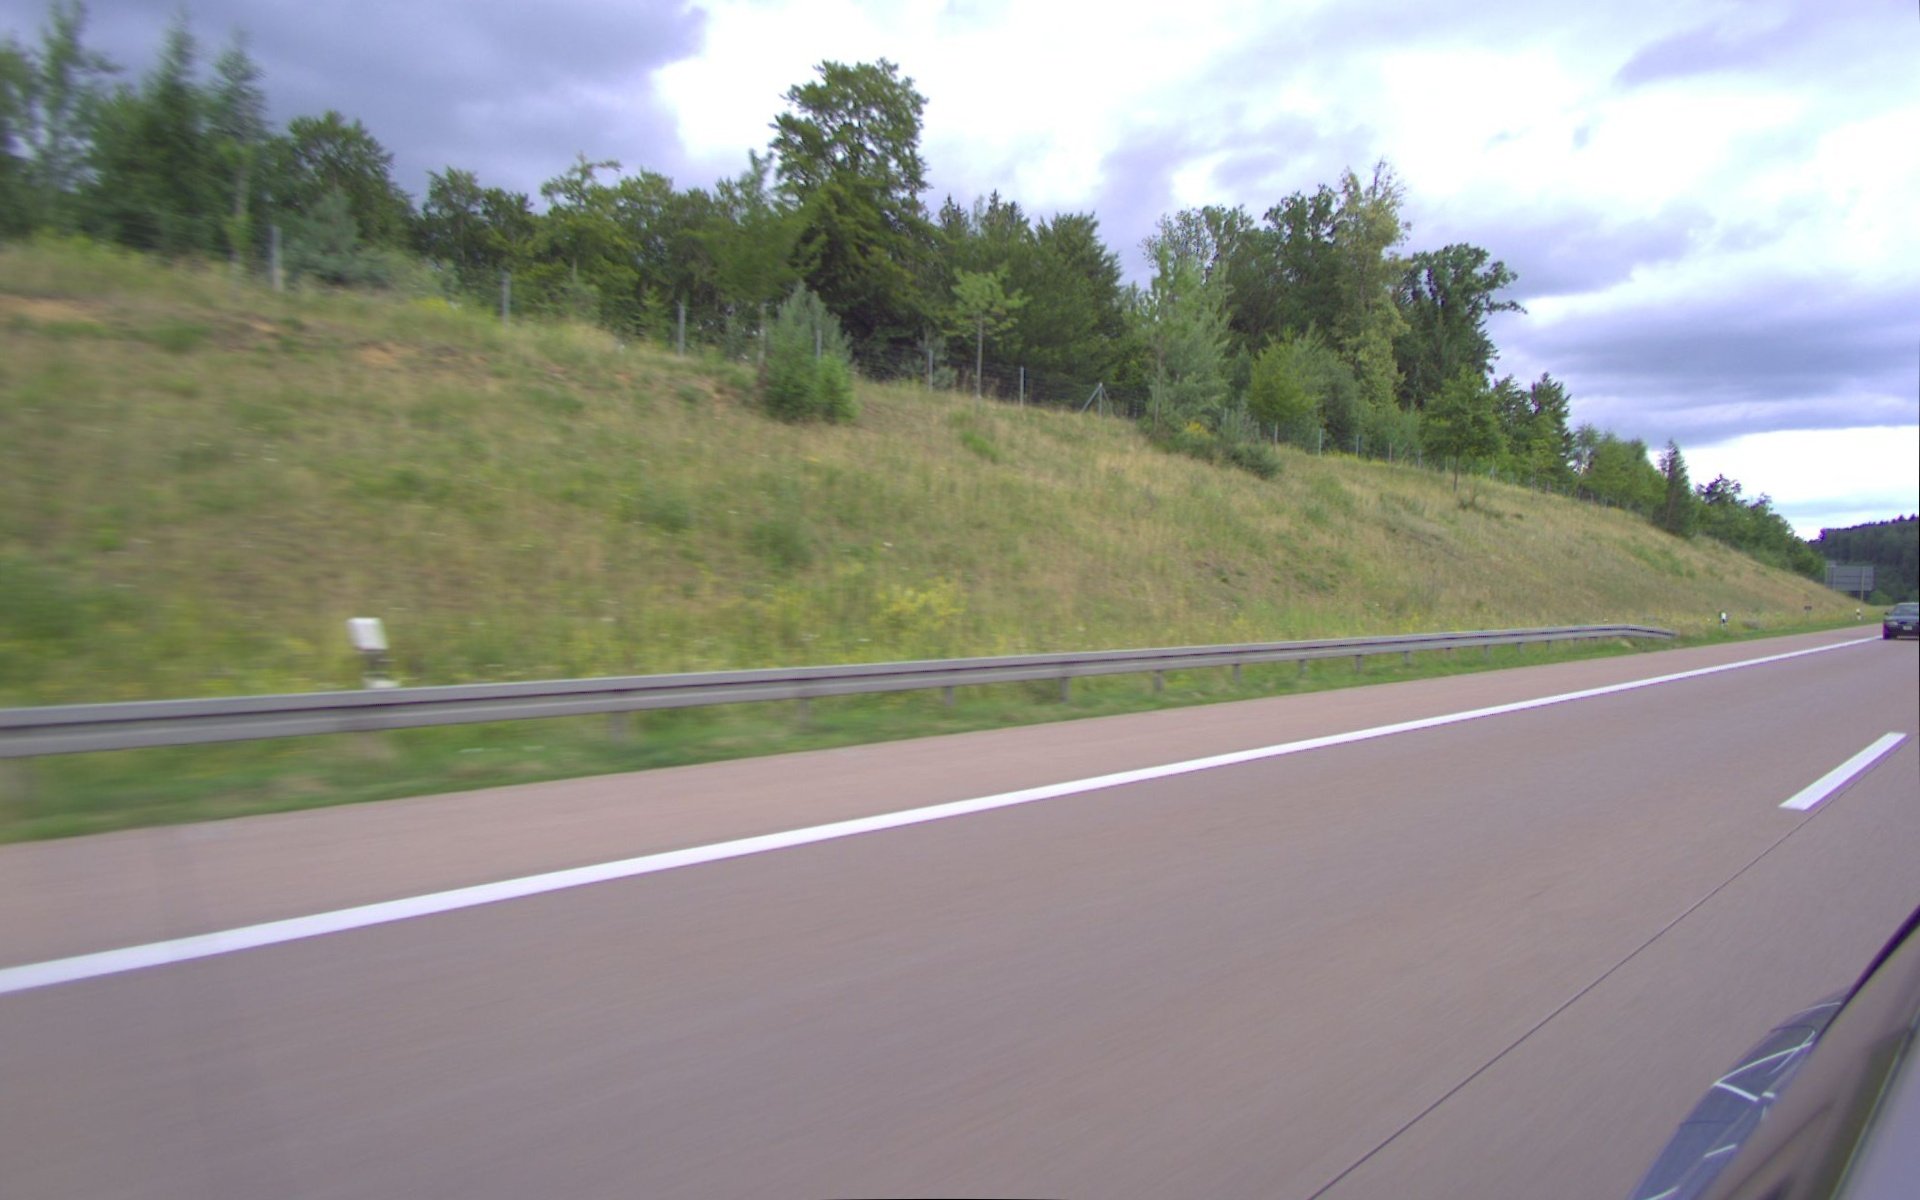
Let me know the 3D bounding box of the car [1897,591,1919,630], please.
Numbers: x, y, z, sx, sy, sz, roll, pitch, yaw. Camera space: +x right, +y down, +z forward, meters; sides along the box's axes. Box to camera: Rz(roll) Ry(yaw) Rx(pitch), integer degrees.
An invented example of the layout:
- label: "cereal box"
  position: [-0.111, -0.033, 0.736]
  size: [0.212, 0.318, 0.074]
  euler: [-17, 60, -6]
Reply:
- label: "car"
  position: [37.773, 0.398, 39.336]
  size: [4.163, 1.420, 1.674]
  euler: [-1, 2, -43]
